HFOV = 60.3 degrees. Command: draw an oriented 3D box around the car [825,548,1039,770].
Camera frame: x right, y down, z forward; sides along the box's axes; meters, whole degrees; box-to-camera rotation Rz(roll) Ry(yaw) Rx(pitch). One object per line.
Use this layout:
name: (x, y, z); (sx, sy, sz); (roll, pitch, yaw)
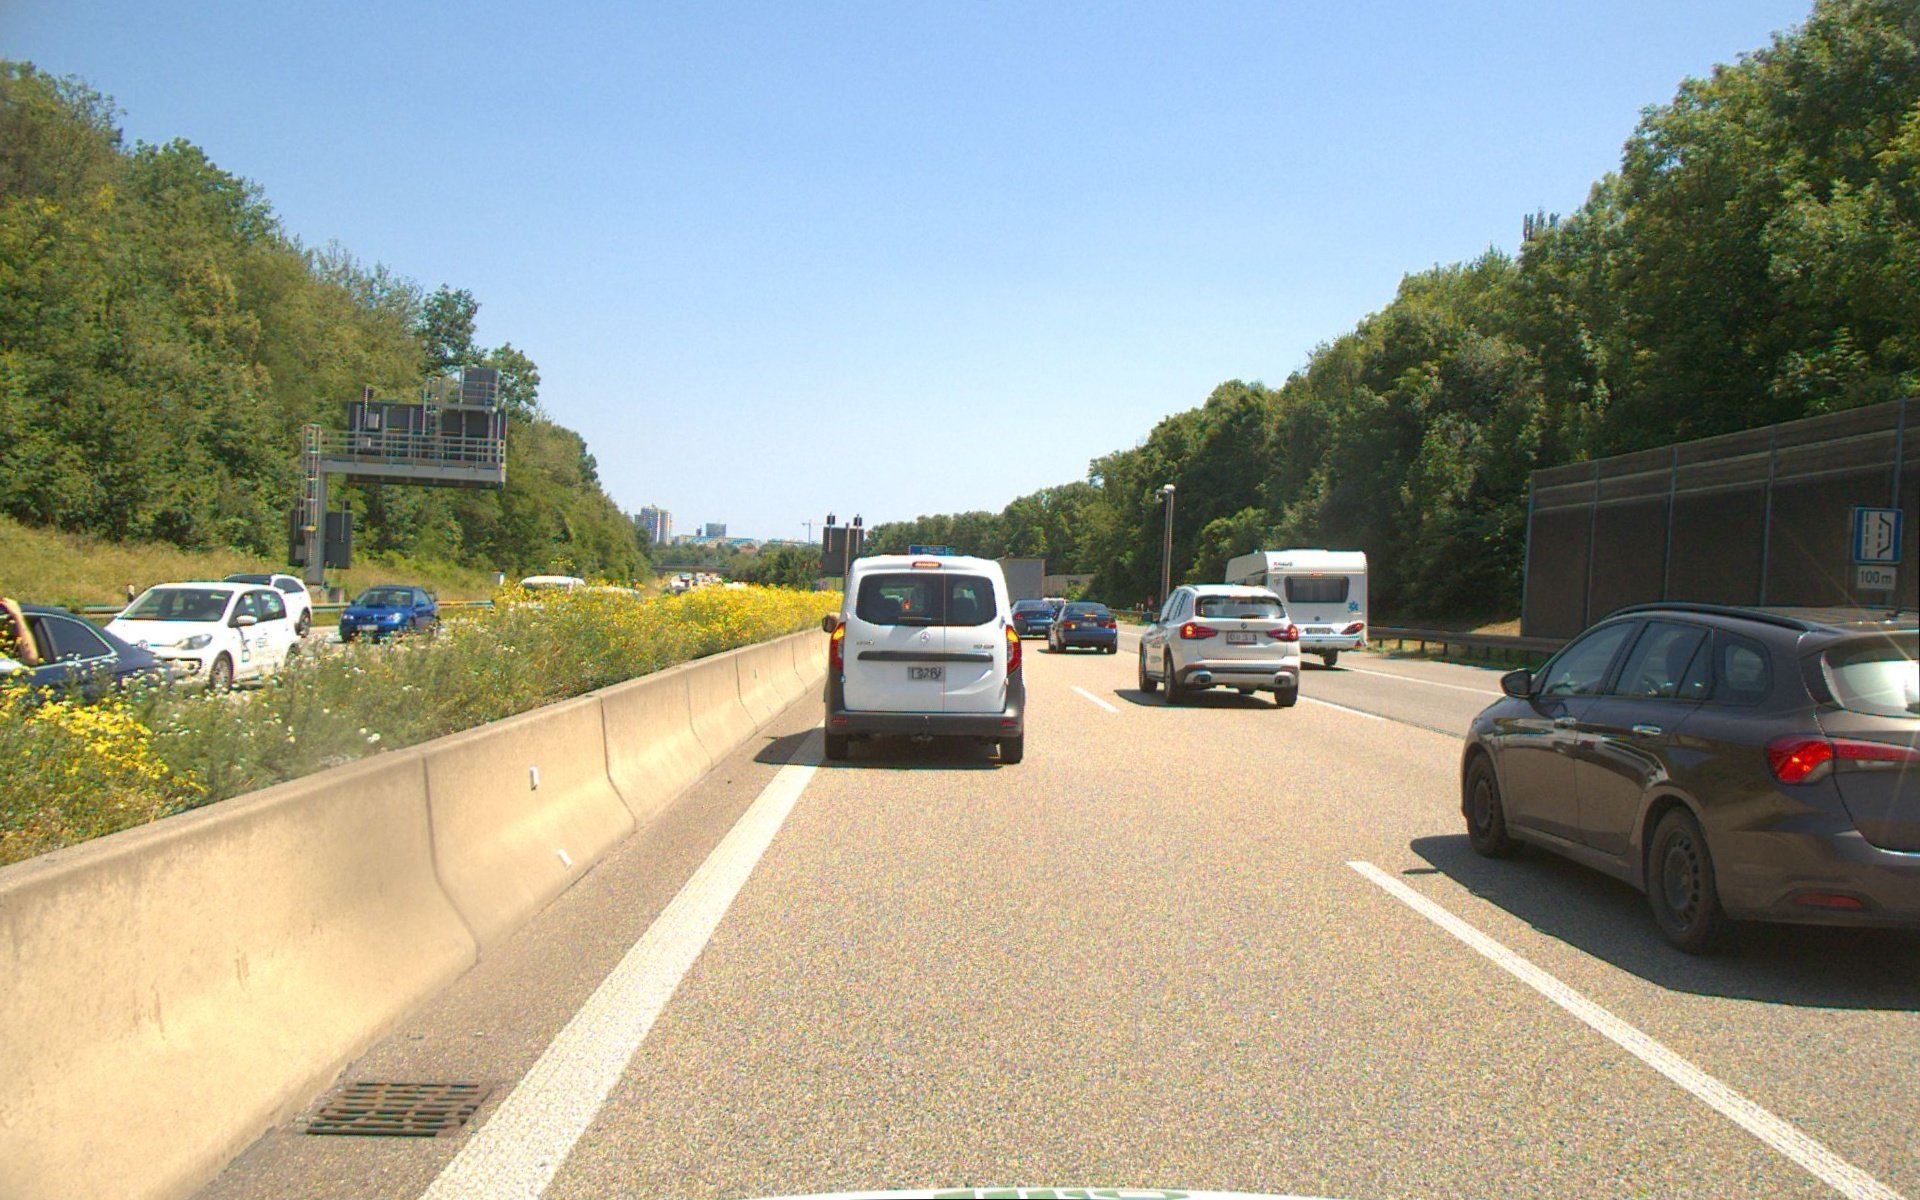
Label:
car: (-0.255, 0.475, 15.866); (1.765, 1.839, 4.000); (1, 1, -1)

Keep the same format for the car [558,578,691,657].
car: (-6.925, 0.331, 34.639); (1.899, 1.529, 4.658); (1, 0, -1)

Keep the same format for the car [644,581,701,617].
car: (-13.210, -0.059, 76.180); (1.953, 1.600, 4.063); (1, 0, -1)

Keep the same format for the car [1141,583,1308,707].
car: (3.820, 0.590, 24.484); (1.833, 1.636, 3.879); (1, 1, 0)

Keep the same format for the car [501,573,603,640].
car: (-11.415, 0.167, 46.563); (1.846, 1.786, 4.276); (1, 0, -1)

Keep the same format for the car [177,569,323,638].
car: (-19.029, 0.073, 44.575); (1.953, 1.721, 4.766); (1, 0, -1)

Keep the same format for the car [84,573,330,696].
car: (-10.244, 0.420, 22.810); (1.641, 1.524, 3.882); (1, 0, -1)

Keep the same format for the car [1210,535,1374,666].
car: (7.706, 0.011, 39.143); (2.429, 2.814, 6.217); (1, 0, -2)

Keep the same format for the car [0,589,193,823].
car: (-6.653, 0.621, 10.140); (1.953, 1.364, 4.247); (1, 0, -1)

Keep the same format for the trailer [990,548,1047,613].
trailer: (3.779, -1.238, 108.857); (3.020, 4.055, 10.319); (1, 0, -2)

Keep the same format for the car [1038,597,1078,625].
car: (5.306, 0.602, 90.152); (1.787, 1.449, 3.998); (1, 0, -2)

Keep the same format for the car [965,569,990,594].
car: (1.472, -1.571, 141.978); (1.953, 2.049, 3.999); (1, 0, -2)

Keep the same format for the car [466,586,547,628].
car: (-16.862, 0.246, 61.681); (1.953, 1.469, 4.006); (1, 0, -1)

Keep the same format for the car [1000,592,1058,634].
car: (2.454, 0.454, 59.961); (1.787, 1.449, 3.998); (1, 0, -2)

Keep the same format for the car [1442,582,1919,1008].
car: (4.002, 0.706, 8.265); (1.801, 1.539, 4.401); (1, 1, -1)

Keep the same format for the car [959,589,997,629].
car: (0.945, 0.471, 86.801); (1.787, 2.024, 3.998); (1, 0, -2)

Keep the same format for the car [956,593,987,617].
car: (0.732, 0.315, 106.415); (1.787, 1.472, 3.998); (1, 0, -2)

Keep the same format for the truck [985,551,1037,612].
truck: (3.511, -1.267, 116.804); (3.020, 4.055, 9.642); (1, 0, -2)

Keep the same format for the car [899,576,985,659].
car: (-0.483, 0.396, 40.181); (1.953, 1.892, 3.998); (1, 0, -2)

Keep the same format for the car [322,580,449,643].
car: (-14.847, 0.270, 42.971); (1.953, 1.517, 3.999); (1, 0, -1)

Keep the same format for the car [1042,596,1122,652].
car: (3.335, 0.632, 45.879); (1.787, 1.449, 3.998); (1, 0, -2)

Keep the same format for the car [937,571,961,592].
car: (-1.061, -1.766, 158.554); (1.955, 2.049, 3.995); (1, 0, -6)

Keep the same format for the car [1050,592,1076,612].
car: (8.270, 0.134, 132.856); (1.752, 1.545, 3.999); (1, 0, -2)
